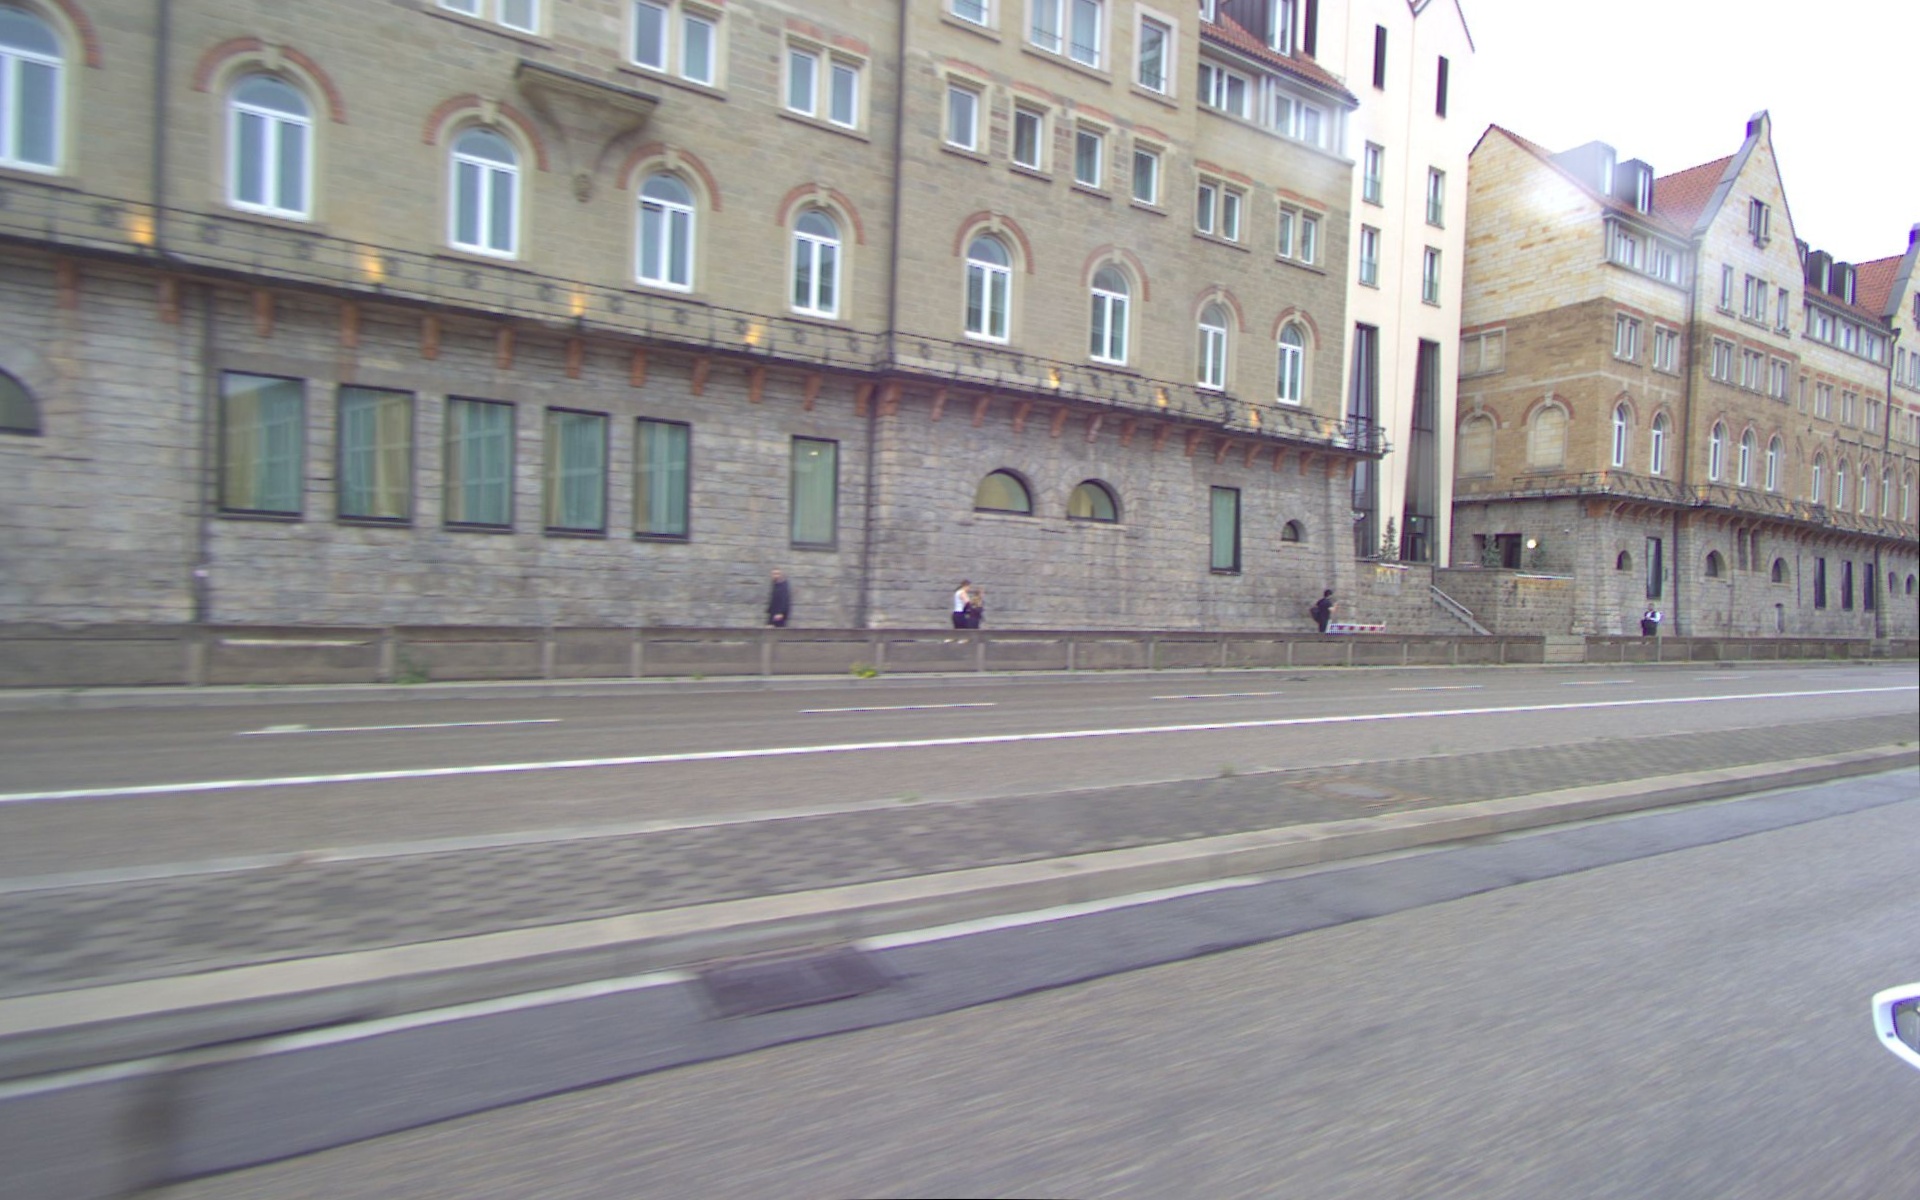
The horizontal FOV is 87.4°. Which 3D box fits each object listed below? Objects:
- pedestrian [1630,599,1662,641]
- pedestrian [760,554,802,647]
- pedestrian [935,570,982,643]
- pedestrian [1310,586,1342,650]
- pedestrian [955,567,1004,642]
[{"bbox_3d":[24.832,0.702,36.373,0.706,1.497,0.750,0,1,-31],"label":"pedestrian"},{"bbox_3d":[-3.496,0.007,19.591,0.614,1.769,0.637,0,1,-32],"label":"pedestrian"},{"bbox_3d":[-0.034,0.130,21.096,0.706,1.497,0.750,0,1,-31],"label":"pedestrian"},{"bbox_3d":[10.209,0.498,28.032,0.617,1.769,0.634,-1,1,-45],"label":"pedestrian"},{"bbox_3d":[0.397,0.086,20.397,0.706,1.497,0.750,0,1,-31],"label":"pedestrian"}]
